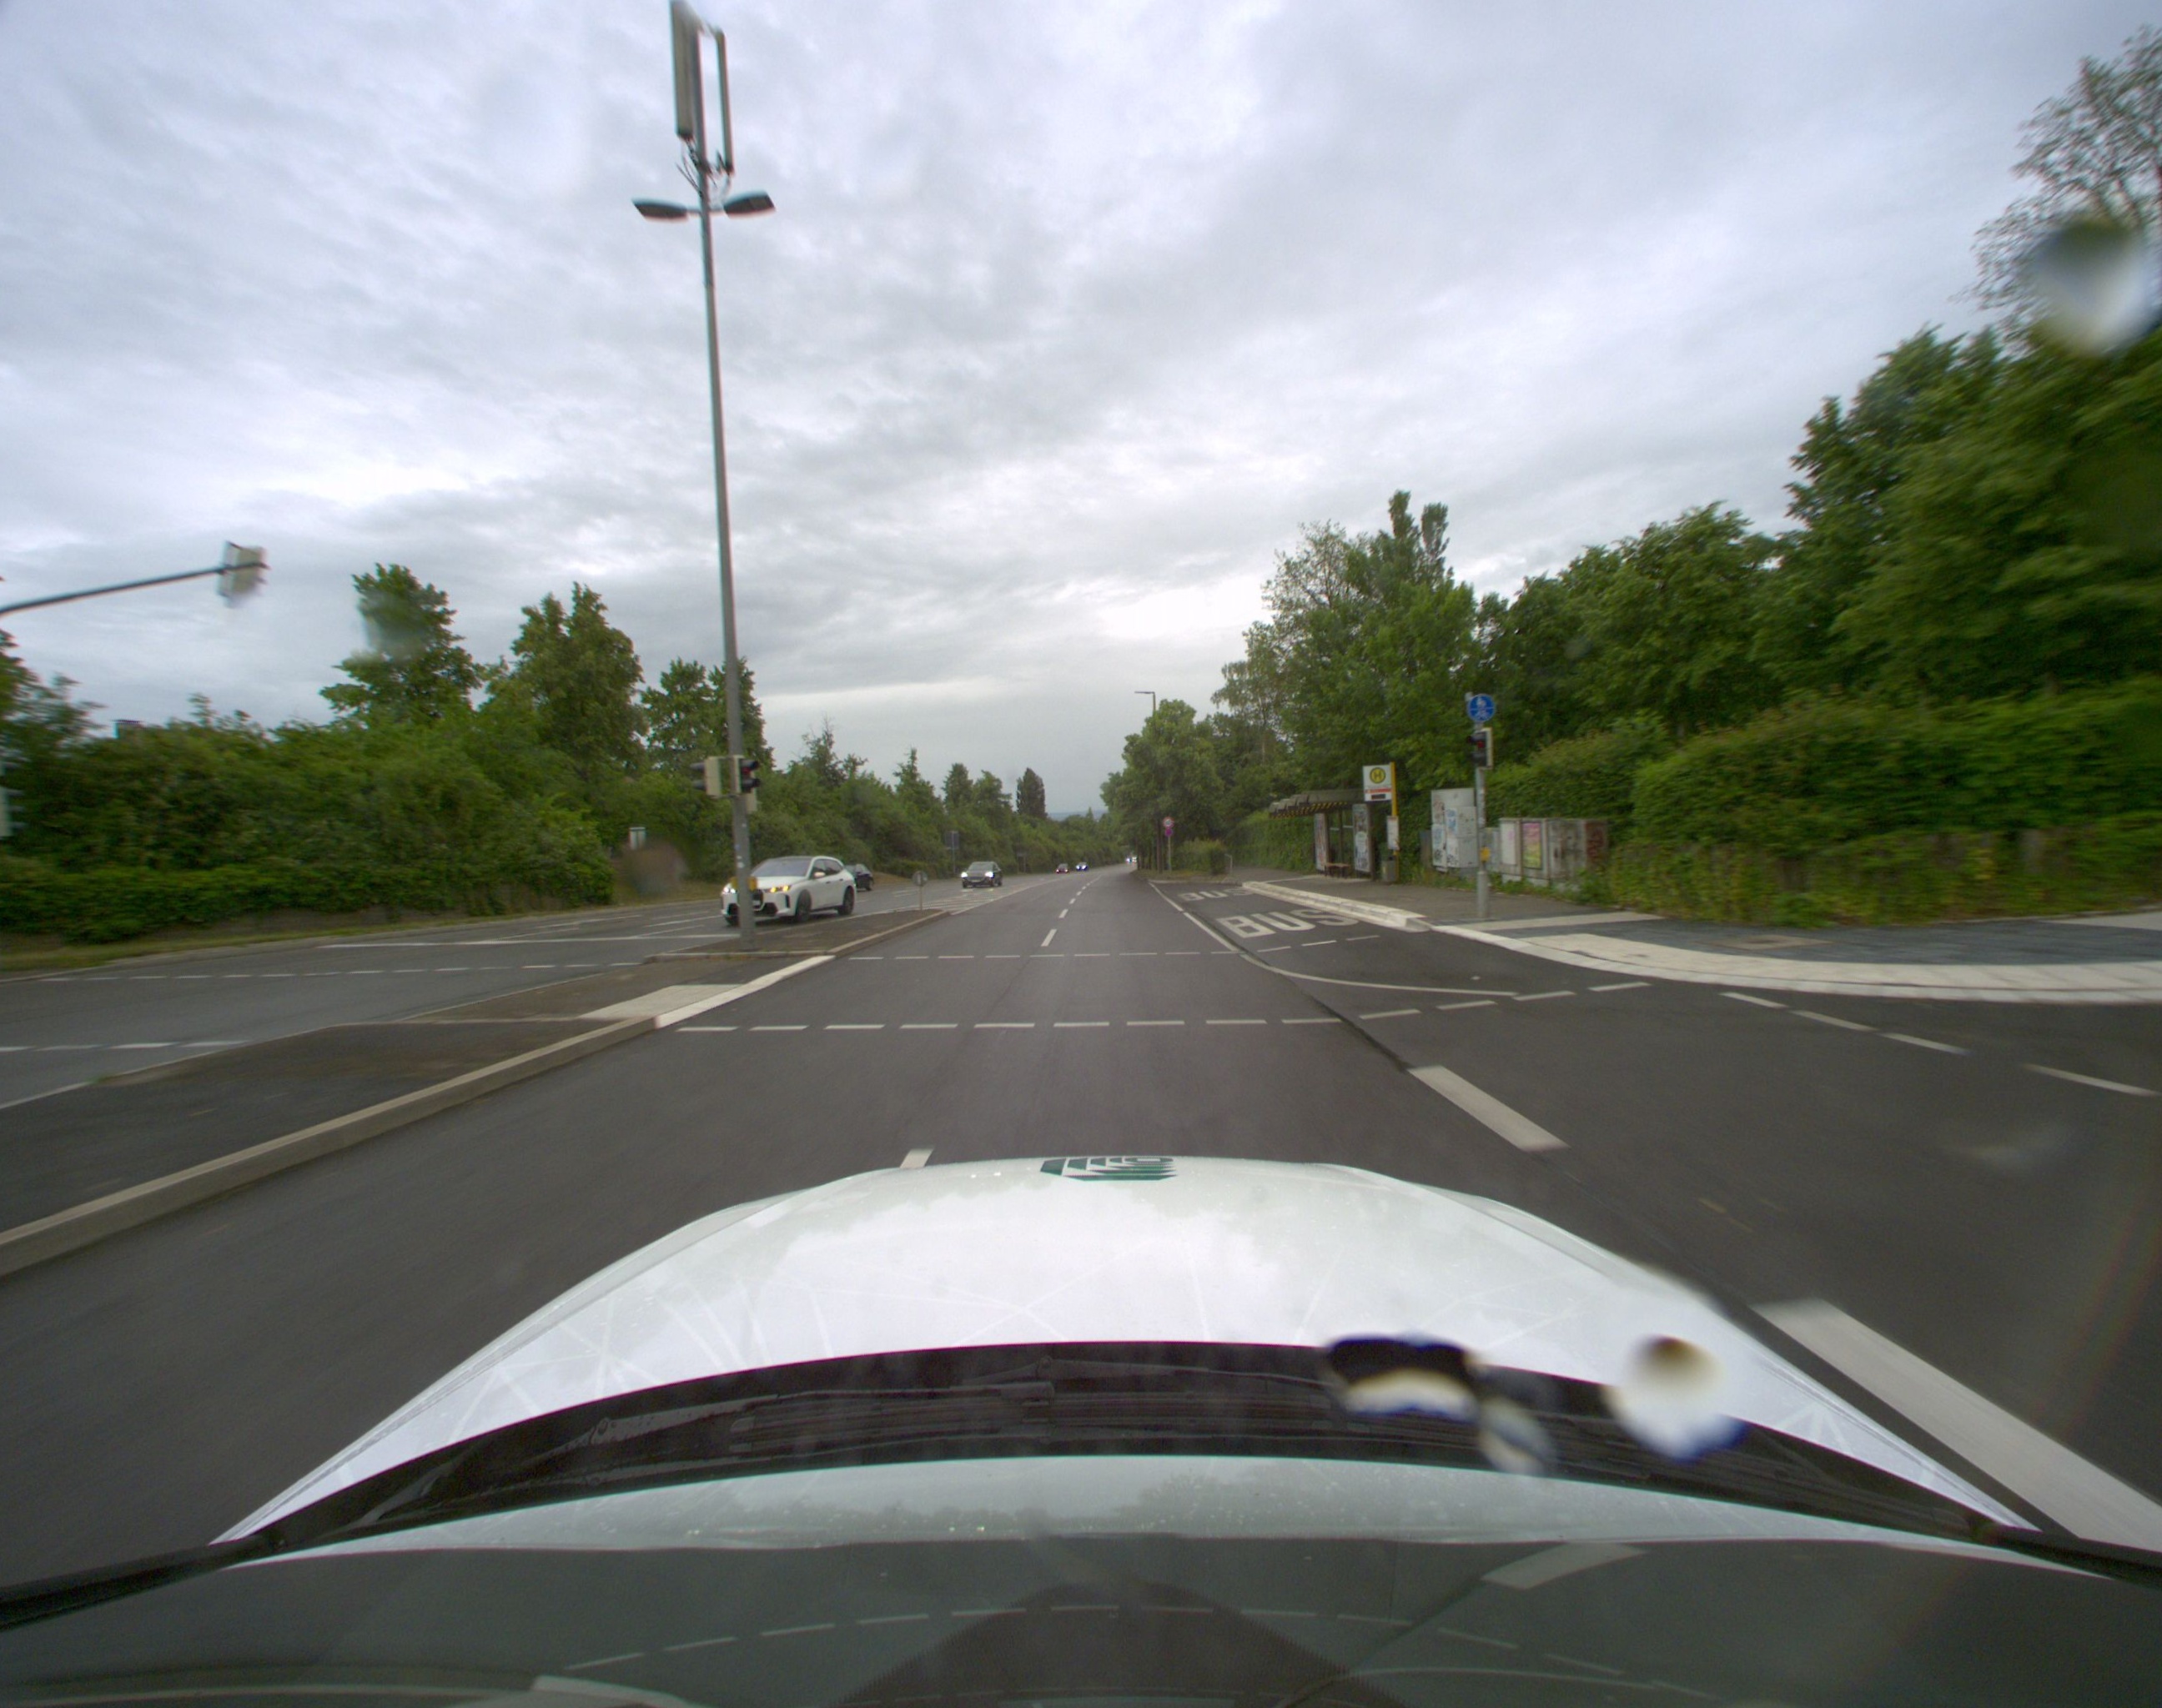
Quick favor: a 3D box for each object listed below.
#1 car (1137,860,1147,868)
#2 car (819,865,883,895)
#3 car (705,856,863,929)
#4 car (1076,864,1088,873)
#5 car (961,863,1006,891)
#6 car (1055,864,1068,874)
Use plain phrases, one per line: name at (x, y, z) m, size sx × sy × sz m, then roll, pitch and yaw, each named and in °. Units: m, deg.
car at (13.843, 2.213, 183.367) m, size 1.934 × 1.591 × 3.937 m, roll -2°, pitch 0°, yaw 8°
car at (-12.125, 1.338, 43.231) m, size 1.811 × 1.437 × 4.460 m, roll -2°, pitch 0°, yaw 4°
car at (-7.705, 0.922, 21.783) m, size 1.935 × 1.635 × 5.013 m, roll -2°, pitch 0°, yaw 5°
car at (0.244, 2.607, 150.491) m, size 1.855 × 1.589 × 3.898 m, roll 0°, pitch -1°, yaw 5°
car at (-5.649, 1.279, 47.514) m, size 1.771 × 1.472 × 4.648 m, roll -2°, pitch 0°, yaw 3°
car at (-3.027, 2.392, 128.806) m, size 1.718 × 1.565 × 3.895 m, roll 0°, pitch -1°, yaw 3°
